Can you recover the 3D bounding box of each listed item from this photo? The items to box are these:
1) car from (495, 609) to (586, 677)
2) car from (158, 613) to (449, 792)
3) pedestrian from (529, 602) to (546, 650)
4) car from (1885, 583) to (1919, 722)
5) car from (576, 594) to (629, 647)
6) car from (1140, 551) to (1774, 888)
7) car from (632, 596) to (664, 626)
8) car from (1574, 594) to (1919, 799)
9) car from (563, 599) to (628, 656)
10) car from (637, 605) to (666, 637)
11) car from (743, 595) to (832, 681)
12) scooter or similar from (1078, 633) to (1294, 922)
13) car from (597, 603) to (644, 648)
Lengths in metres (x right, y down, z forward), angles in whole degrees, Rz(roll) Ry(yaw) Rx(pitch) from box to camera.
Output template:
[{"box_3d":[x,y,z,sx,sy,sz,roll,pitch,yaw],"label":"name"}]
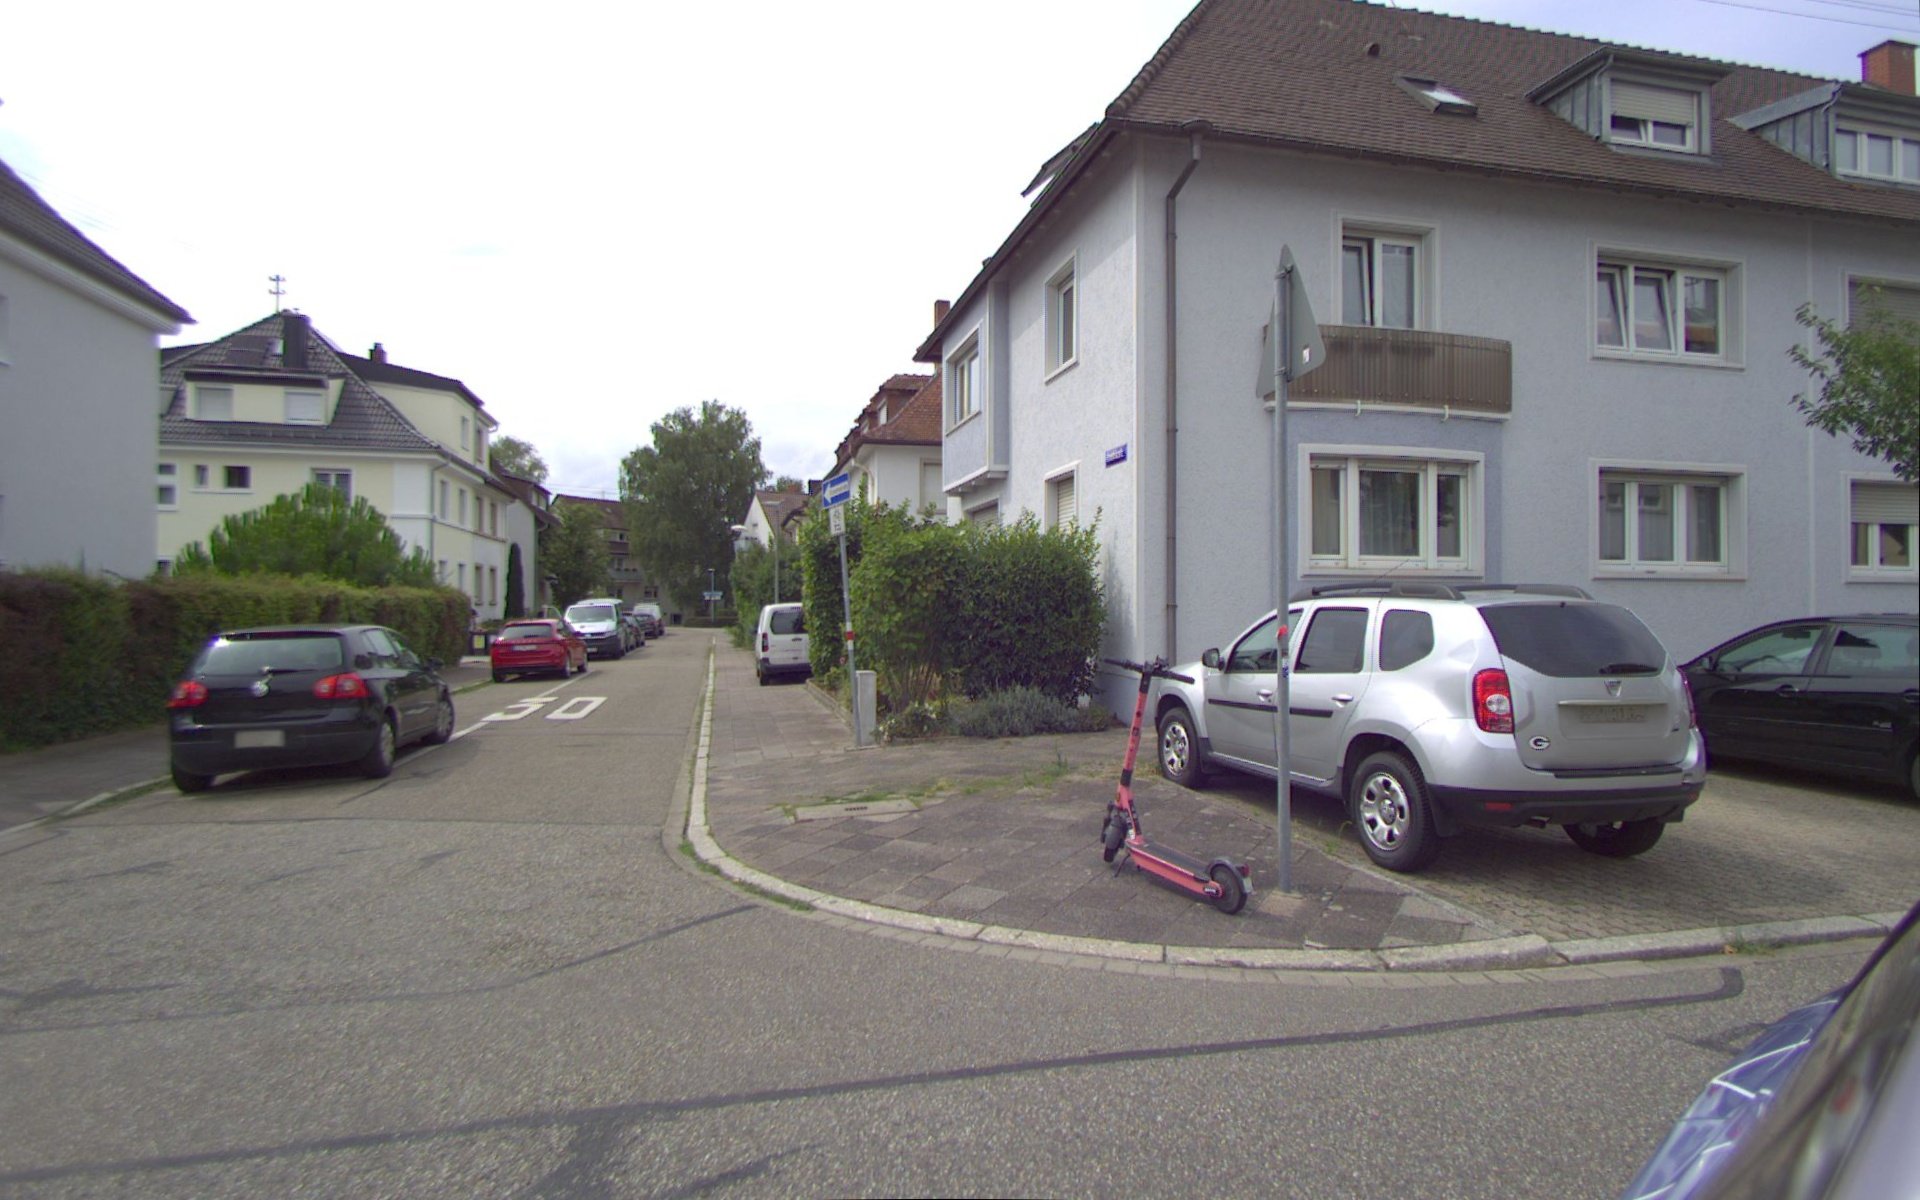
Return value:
[{"box_3d":[-10.333,1.008,25.175,1.628,1.537,3.822,0,0,-15],"label":"car"},{"box_3d":[-6.547,0.884,10.556,1.628,1.462,3.822,0,0,-18],"label":"car"},{"box_3d":[-15.623,0.956,37.398,0.548,1.741,0.615,0,-1,-25],"label":"pedestrian"},{"box_3d":[11.839,0.629,9.773,1.676,1.526,4.009,0,1,-13],"label":"car"},{"box_3d":[-13.625,0.764,38.718,1.628,1.928,3.822,0,0,-15],"label":"car"},{"box_3d":[2.955,0.547,7.100,1.828,1.653,3.945,1,1,-14],"label":"car"},{"box_3d":[-19.852,0.662,64.486,1.871,1.755,3.777,0,1,-16],"label":"car"},{"box_3d":[7.622,0.713,8.668,1.676,1.439,4.009,0,2,-13],"label":"car"},{"box_3d":[-12.336,0.890,34.445,1.768,1.817,3.822,0,0,-15],"label":"car"},{"box_3d":[-17.970,1.205,59.067,1.513,1.682,3.647,0,1,-15],"label":"car"},{"box_3d":[-4.152,0.825,23.915,1.669,1.828,3.822,-1,0,-15],"label":"car"},{"box_3d":[1.139,0.840,5.323,0.413,1.259,1.245,0,1,-26],"label":"scooter or similar"},{"box_3d":[-14.726,1.046,44.032,1.719,1.849,4.304,0,0,-15],"label":"car"}]
